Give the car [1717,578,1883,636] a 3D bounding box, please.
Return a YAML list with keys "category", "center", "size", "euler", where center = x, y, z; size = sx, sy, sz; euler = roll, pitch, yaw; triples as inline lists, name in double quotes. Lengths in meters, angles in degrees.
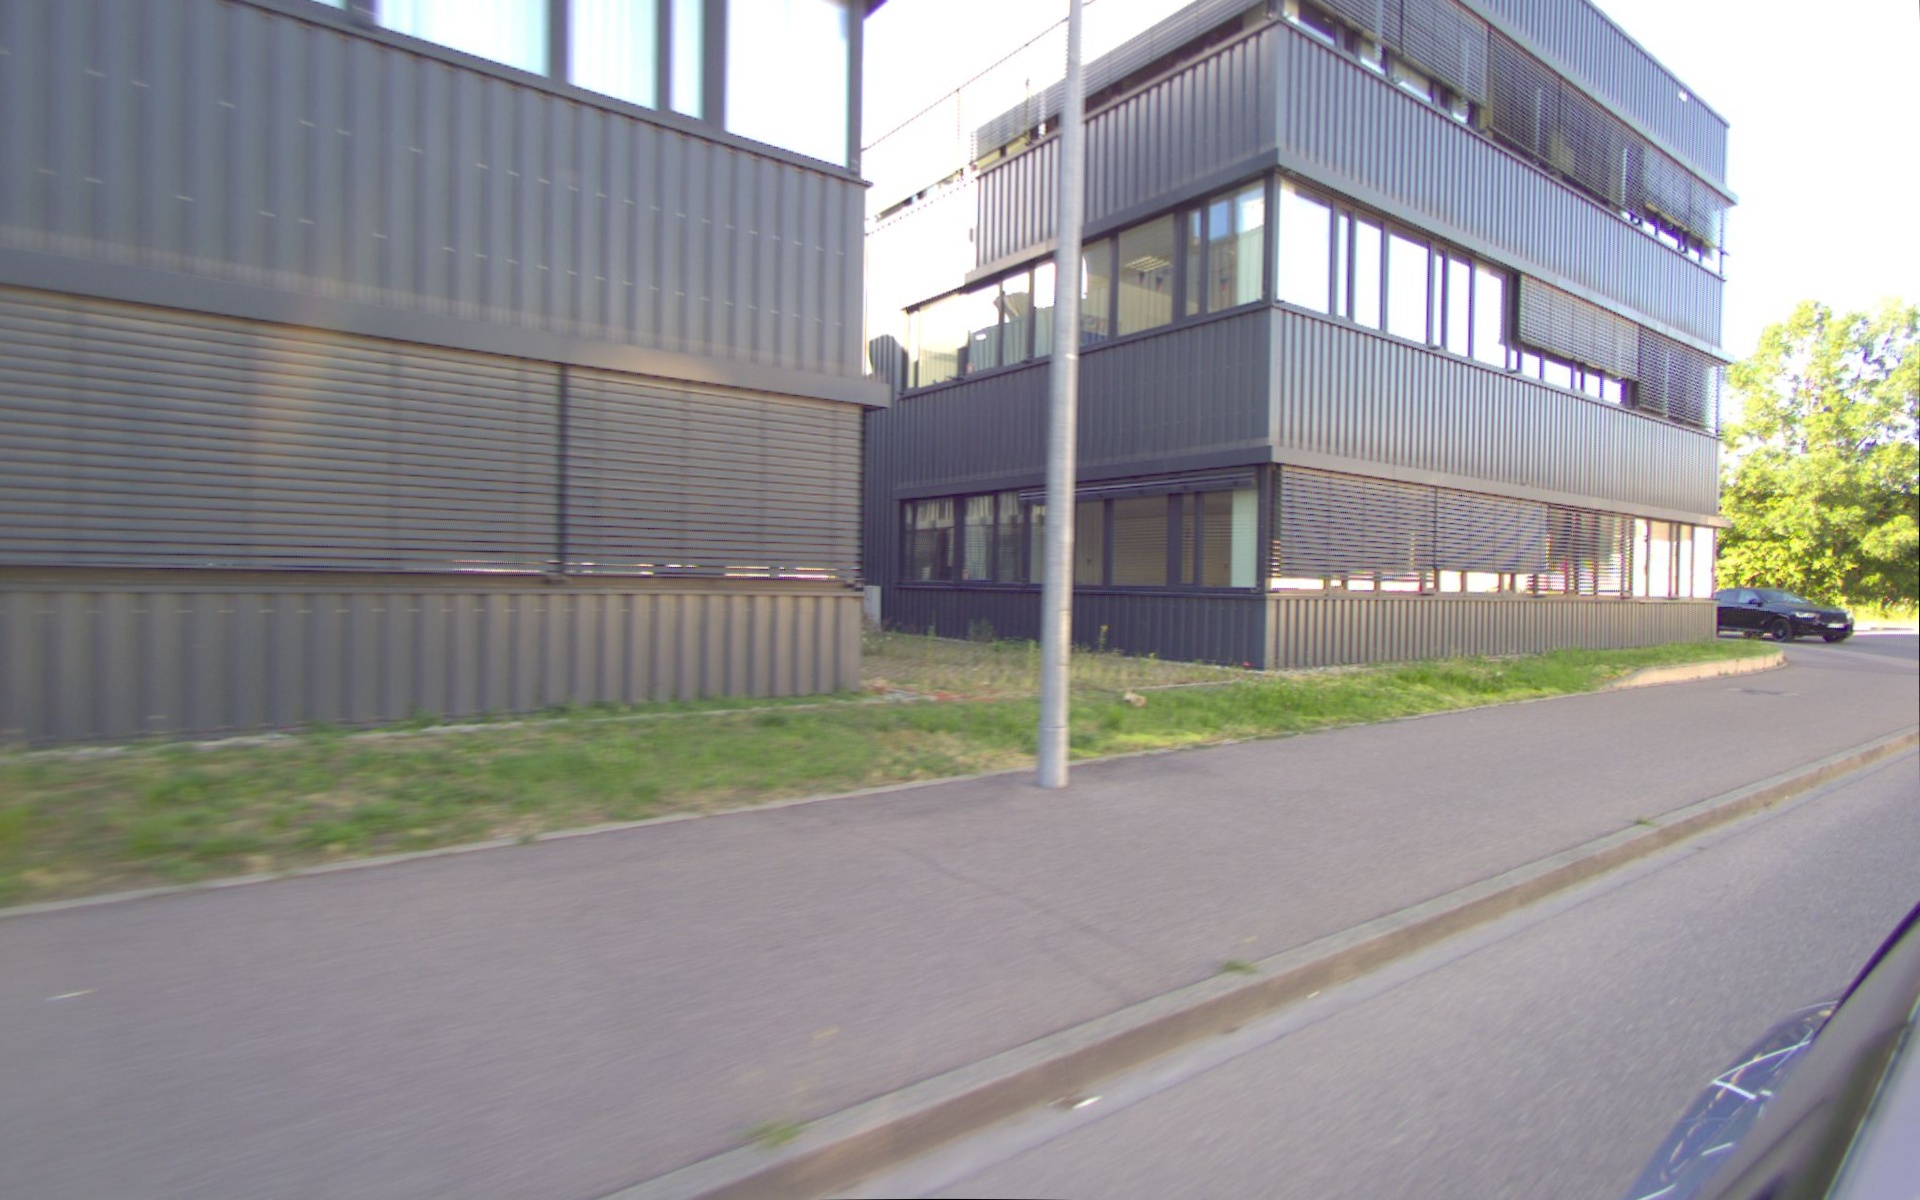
- category: "car"
  center: [26.726, 0.164, 32.446]
  size: [2.005, 1.653, 4.602]
  euler: [1, 2, 9]
